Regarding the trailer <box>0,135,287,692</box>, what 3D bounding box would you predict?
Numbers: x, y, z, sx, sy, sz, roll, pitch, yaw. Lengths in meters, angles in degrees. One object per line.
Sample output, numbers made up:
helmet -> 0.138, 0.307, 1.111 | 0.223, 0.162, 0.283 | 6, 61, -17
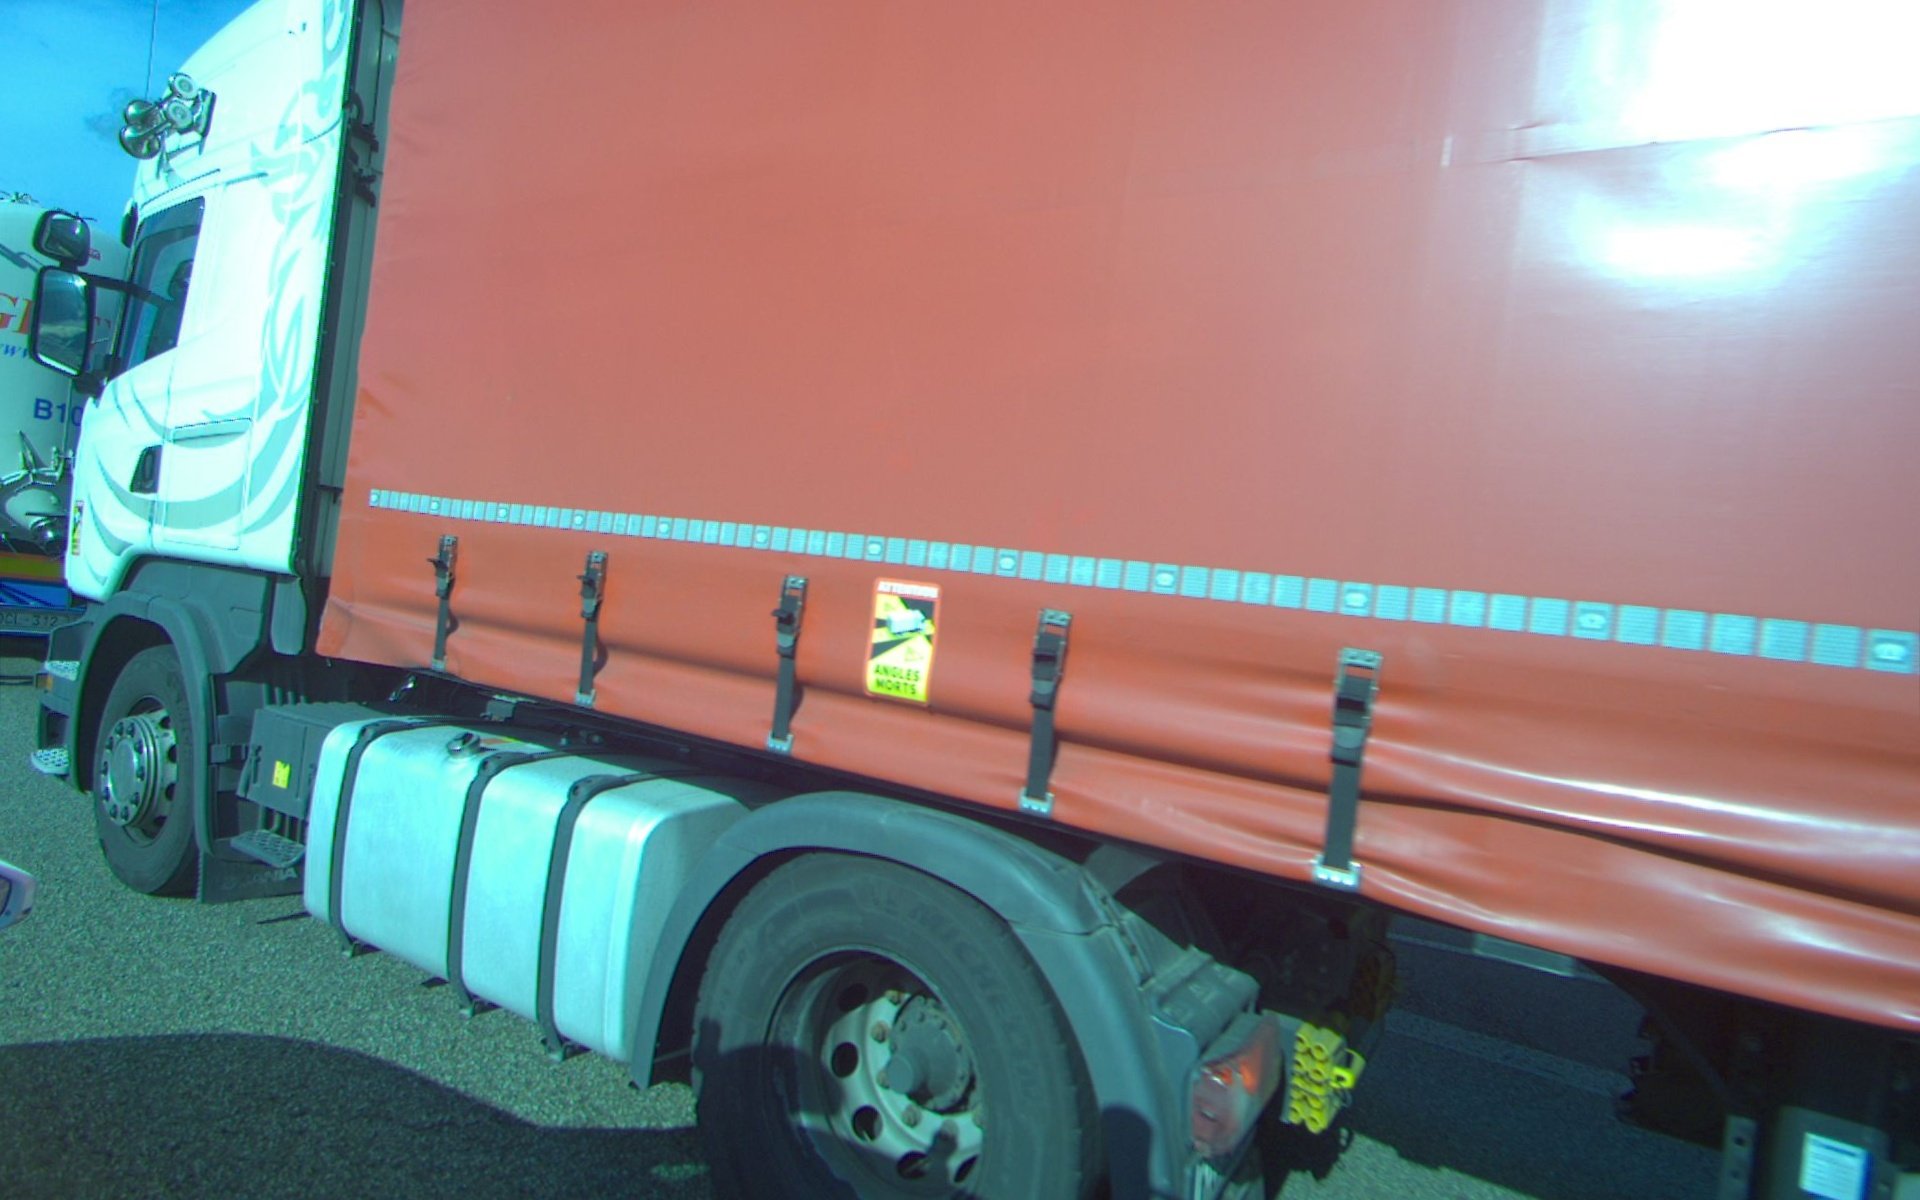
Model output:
trailer -> -11.458, -1.840, 10.567 | 10.989, 3.981, 2.650 | 7, -1, 32

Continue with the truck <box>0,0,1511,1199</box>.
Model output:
truck -> -1.458, -0.687, 4.005 | 6.004, 4.069, 2.369 | 6, -1, 32

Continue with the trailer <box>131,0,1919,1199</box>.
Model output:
trailer -> 4.107, -0.037, 0.571 | 14.062, 4.045, 2.332 | 6, -1, 32
